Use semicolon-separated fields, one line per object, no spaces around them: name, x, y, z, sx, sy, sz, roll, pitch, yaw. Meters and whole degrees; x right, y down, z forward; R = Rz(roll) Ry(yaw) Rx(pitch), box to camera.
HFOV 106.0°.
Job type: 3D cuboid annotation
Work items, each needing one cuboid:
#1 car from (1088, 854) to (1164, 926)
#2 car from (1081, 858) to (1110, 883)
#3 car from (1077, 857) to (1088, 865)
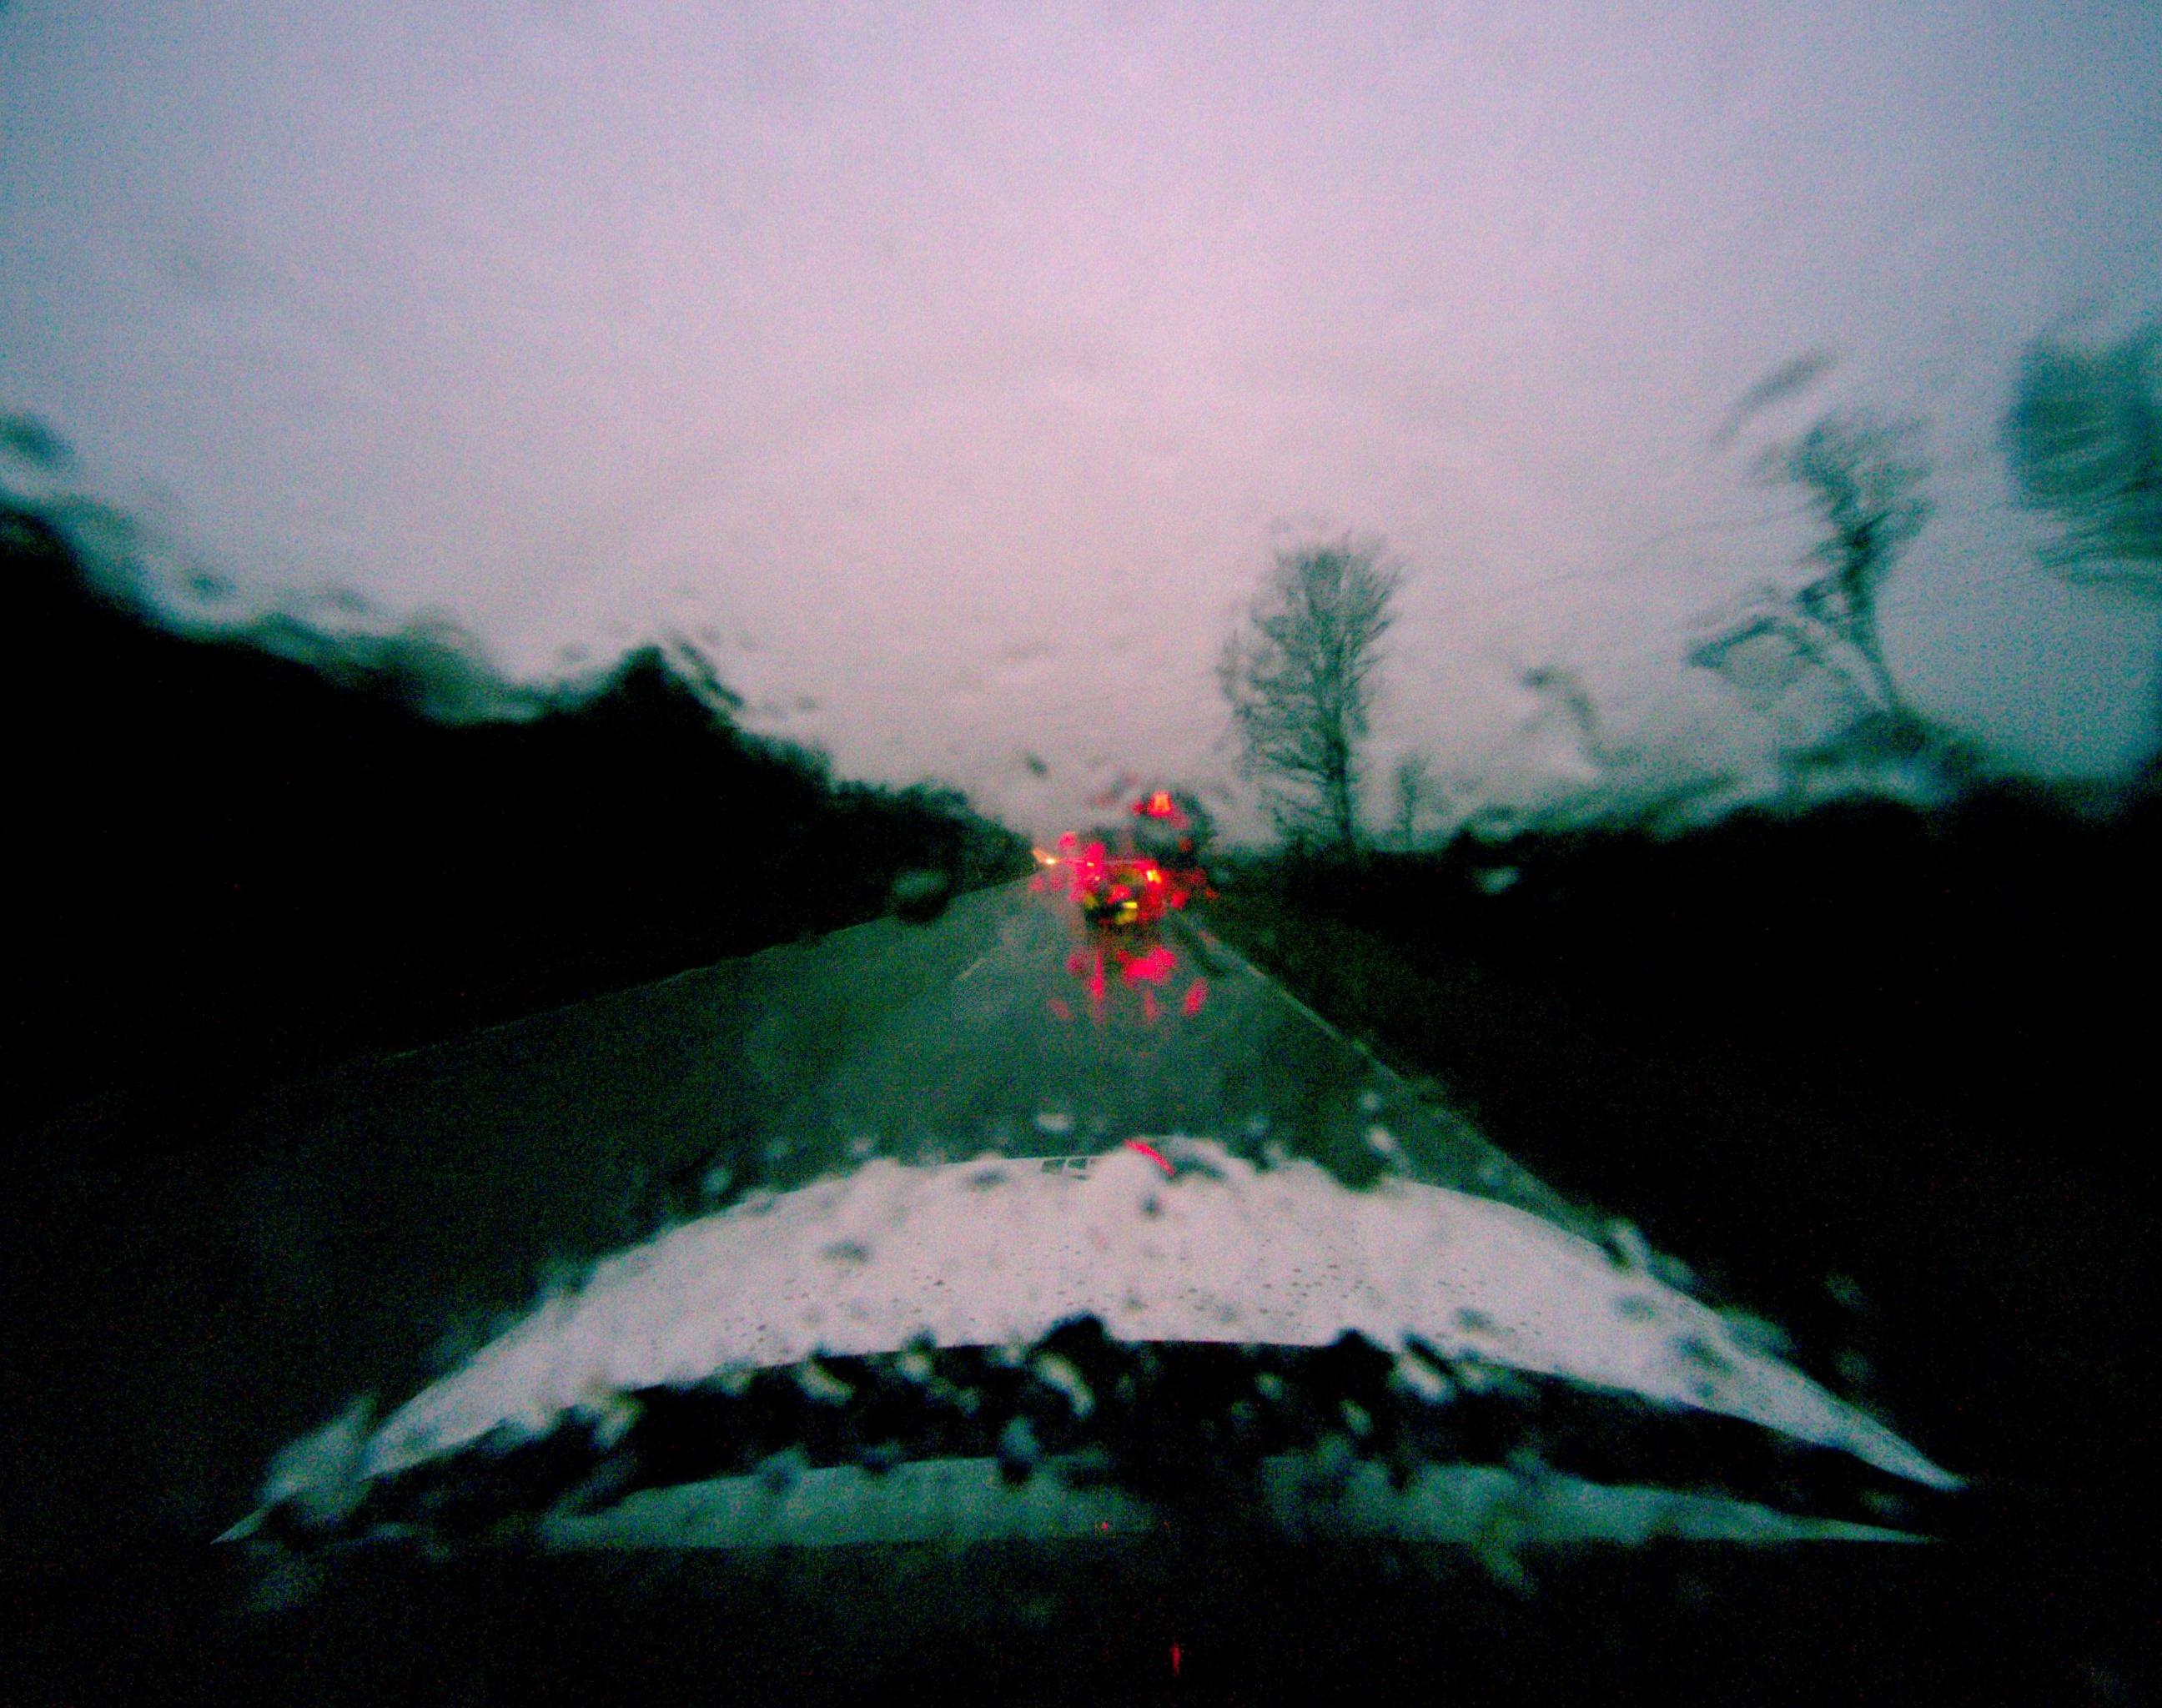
car;1.041;0.784;19.313;1.596;1.522;3.871;-1;0;2
car;0.897;0.916;47.931;1.540;1.397;3.872;-1;0;3
car;0.283;1.250;142.705;1.538;1.397;3.877;-1;0;7
